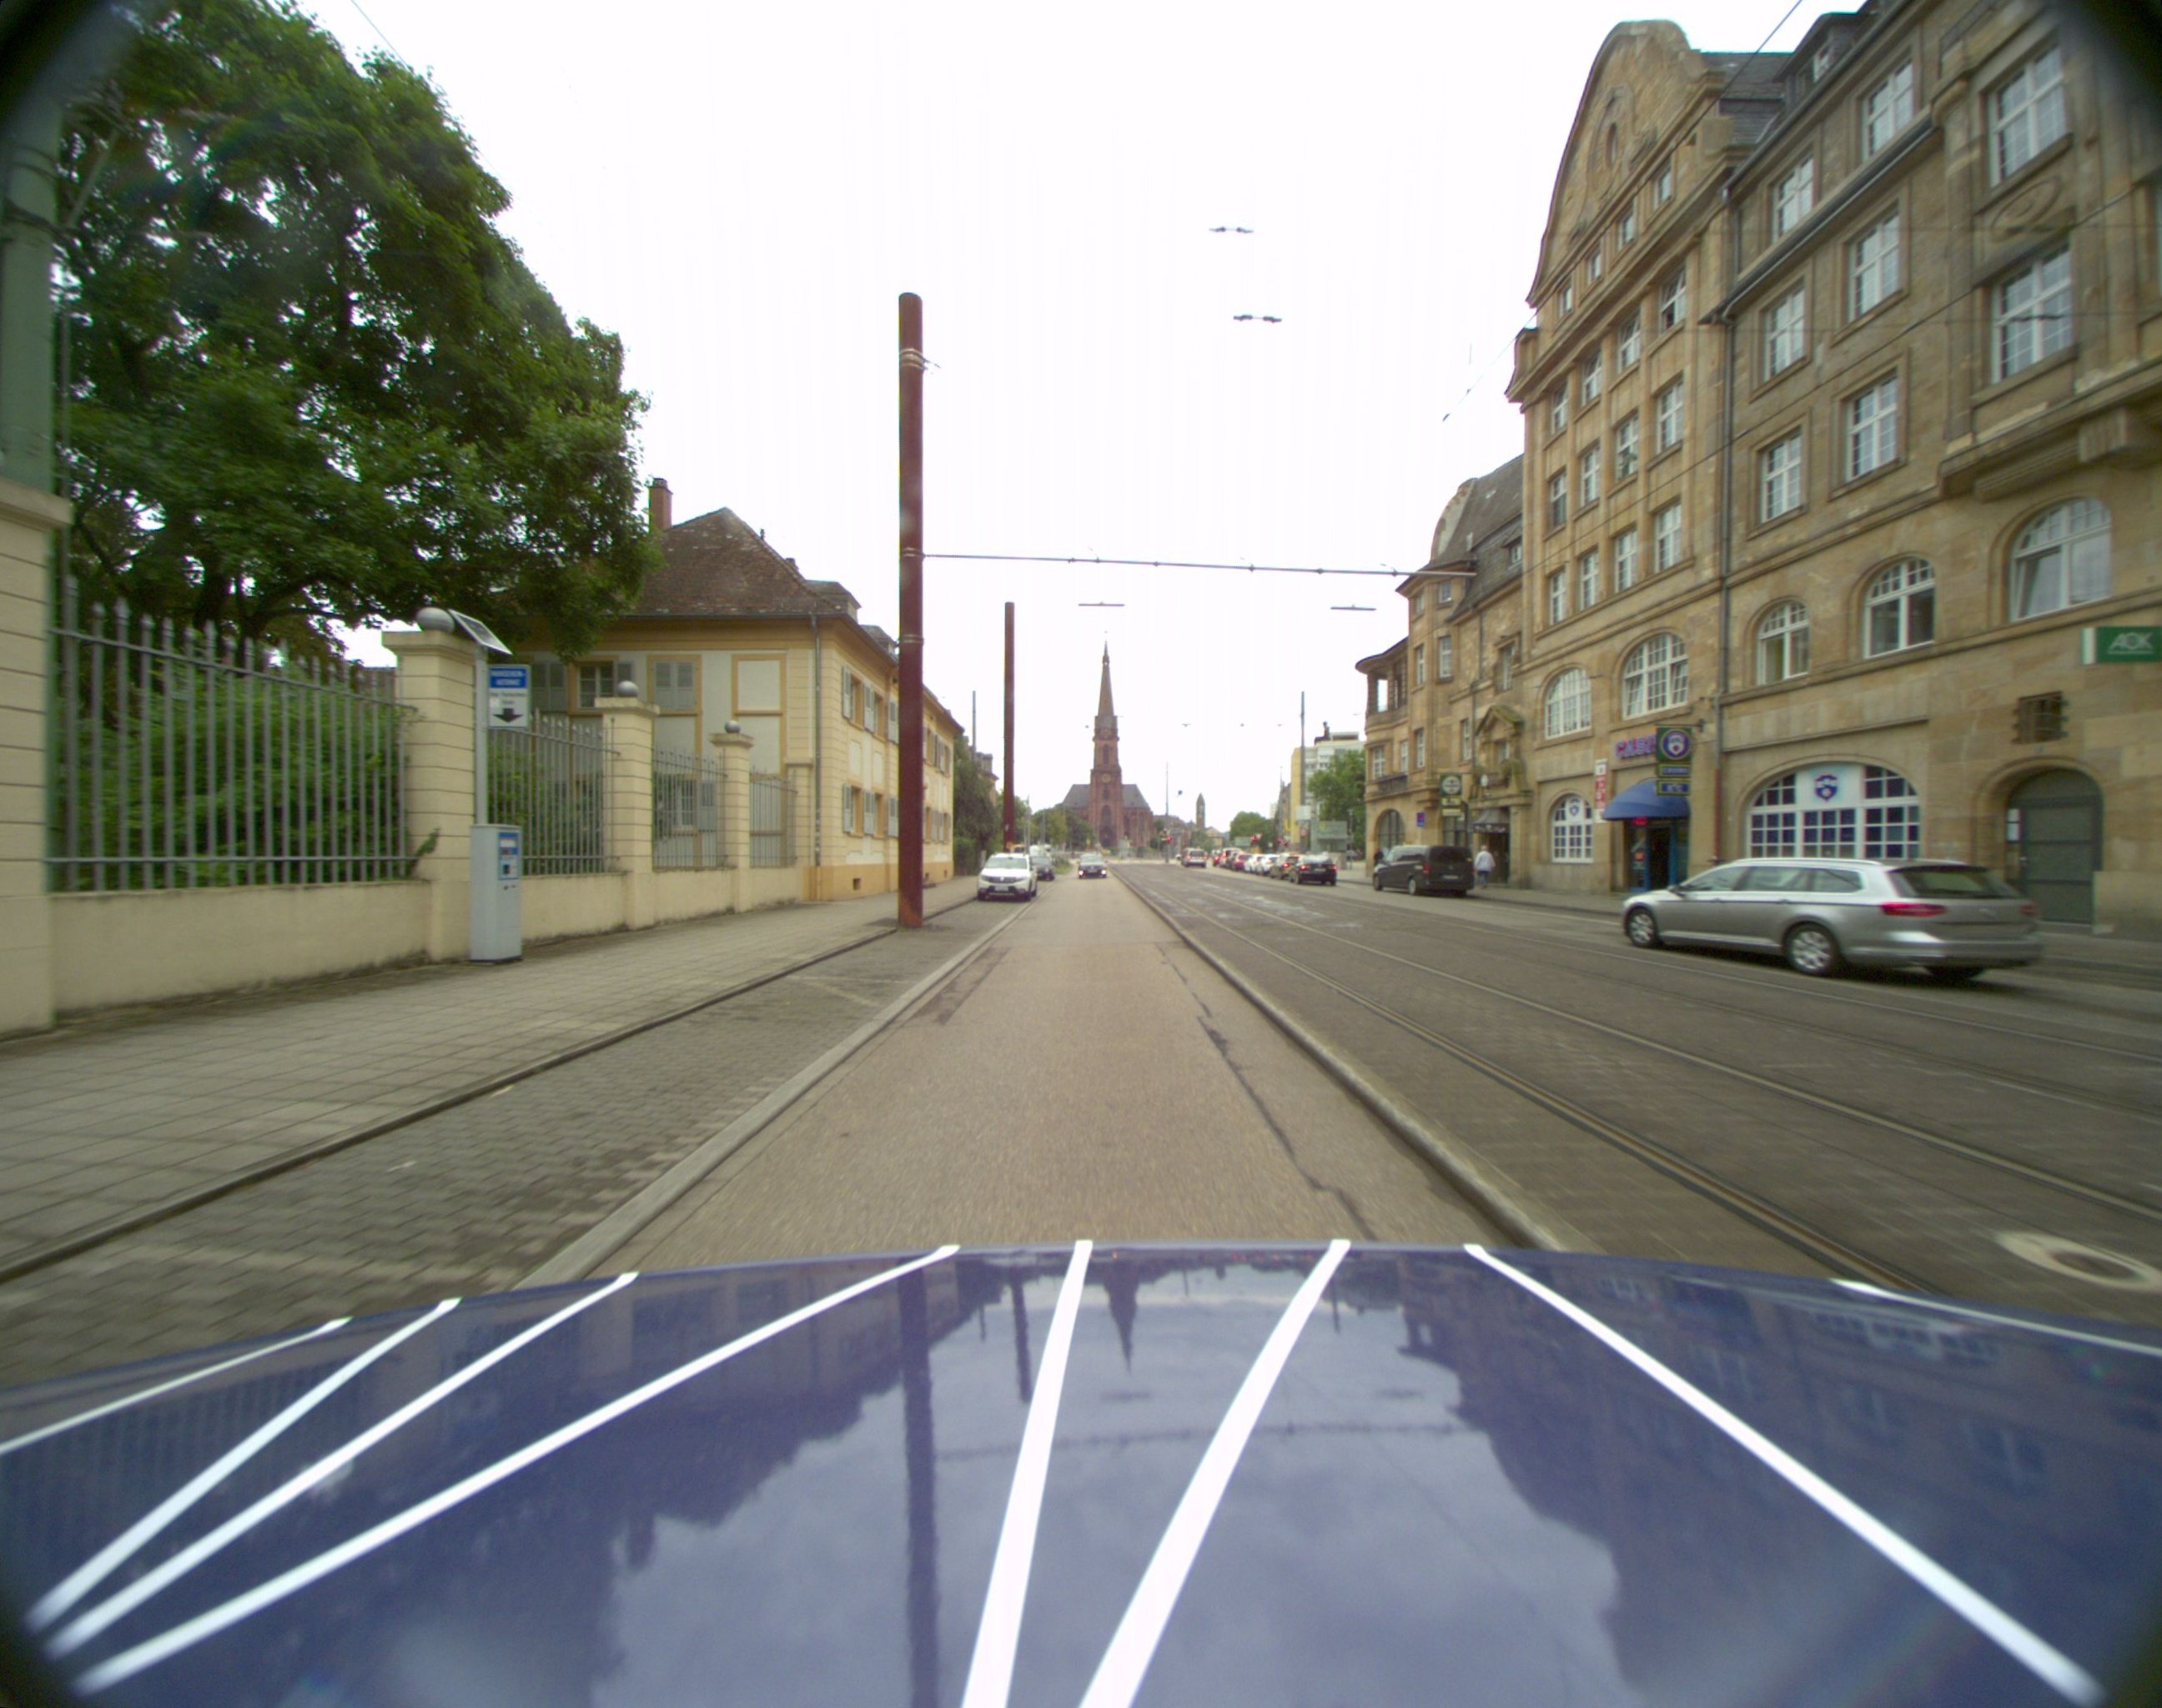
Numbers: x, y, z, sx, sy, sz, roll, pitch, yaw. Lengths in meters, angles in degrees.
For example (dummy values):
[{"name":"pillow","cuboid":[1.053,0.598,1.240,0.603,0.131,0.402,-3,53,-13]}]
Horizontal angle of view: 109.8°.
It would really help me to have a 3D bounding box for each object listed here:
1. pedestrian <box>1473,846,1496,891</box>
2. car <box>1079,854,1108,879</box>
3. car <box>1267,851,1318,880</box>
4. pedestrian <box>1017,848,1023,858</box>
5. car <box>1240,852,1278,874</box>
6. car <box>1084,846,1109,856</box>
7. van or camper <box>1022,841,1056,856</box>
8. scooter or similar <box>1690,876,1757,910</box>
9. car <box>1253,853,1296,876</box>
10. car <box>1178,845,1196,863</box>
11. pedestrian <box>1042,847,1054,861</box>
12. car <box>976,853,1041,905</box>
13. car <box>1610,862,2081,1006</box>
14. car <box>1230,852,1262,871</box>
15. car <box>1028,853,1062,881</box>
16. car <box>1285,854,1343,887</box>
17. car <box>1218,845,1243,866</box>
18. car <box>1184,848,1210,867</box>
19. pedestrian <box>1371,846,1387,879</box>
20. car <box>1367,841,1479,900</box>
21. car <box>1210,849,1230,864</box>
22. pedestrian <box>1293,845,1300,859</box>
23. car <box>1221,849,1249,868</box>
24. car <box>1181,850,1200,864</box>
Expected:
[{"name":"pedestrian","cuboid":[15.588,0.553,29.357,0.599,1.718,0.523,0,1,-3]},{"name":"car","cuboid":[0.703,0.697,44.929,1.655,1.404,3.999,0,0,0]},{"name":"car","cuboid":[11.860,0.620,42.838,1.903,1.502,4.429,1,0,4]},{"name":"pedestrian","cuboid":[-10.971,-0.179,136.490,0.782,1.932,0.980,0,1,-22]},{"name":"car","cuboid":[12.830,0.622,55.017,1.751,1.372,4.362,2,0,2]},{"name":"car","cuboid":[2.839,-0.520,137.960,3.988,1.740,2.004,1,2,37]},{"name":"van or camper","cuboid":[-7.716,-1.050,139.847,6.034,2.596,2.427,0,2,32]},{"name":"scooter or similar","cuboid":[16.327,0.985,19.352,0.583,0.798,1.345,0,0,1]},{"name":"car","cuboid":[12.412,0.639,49.035,1.931,1.372,4.259,0,0,4]},{"name":"car","cuboid":[11.627,-0.005,83.458,1.692,1.889,4.387,0,1,5]},{"name":"pedestrian","cuboid":[-4.409,0.010,101.552,1.283,1.856,0.889,0,1,34]},{"name":"car","cuboid":[-2.399,0.785,26.062,1.759,1.565,3.930,2,0,0]},{"name":"car","cuboid":[9.608,0.862,10.263,1.763,1.441,4.614,0,0,1]},{"name":"car","cuboid":[13.040,0.555,60.244,1.867,1.391,3.896,2,1,4]},{"name":"car","cuboid":[-1.997,0.687,43.004,1.641,1.425,3.930,2,0,0]},{"name":"car","cuboid":[11.150,0.746,36.685,1.830,1.425,4.669,2,0,7]},{"name":"car","cuboid":[14.192,0.128,72.300,1.867,1.905,5.102,0,0,6]},{"name":"car","cuboid":[10.851,0.265,71.404,1.867,1.696,4.909,1,0,2]},{"name":"pedestrian","cuboid":[15.604,0.441,39.780,0.496,1.718,0.765,0,1,-3]},{"name":"car","cuboid":[12.760,0.563,28.770,1.904,1.965,5.097,2,0,0]},{"name":"car","cuboid":[14.330,0.228,78.365,1.692,1.434,4.001,0,1,5]},{"name":"pedestrian","cuboid":[25.577,-0.262,90.124,0.601,1.718,0.914,0,1,26]},{"name":"car","cuboid":[13.296,0.379,65.860,1.867,1.525,4.304,2,1,5]},{"name":"car","cuboid":[11.214,0.311,77.729,1.692,1.434,4.001,0,1,5]}]
